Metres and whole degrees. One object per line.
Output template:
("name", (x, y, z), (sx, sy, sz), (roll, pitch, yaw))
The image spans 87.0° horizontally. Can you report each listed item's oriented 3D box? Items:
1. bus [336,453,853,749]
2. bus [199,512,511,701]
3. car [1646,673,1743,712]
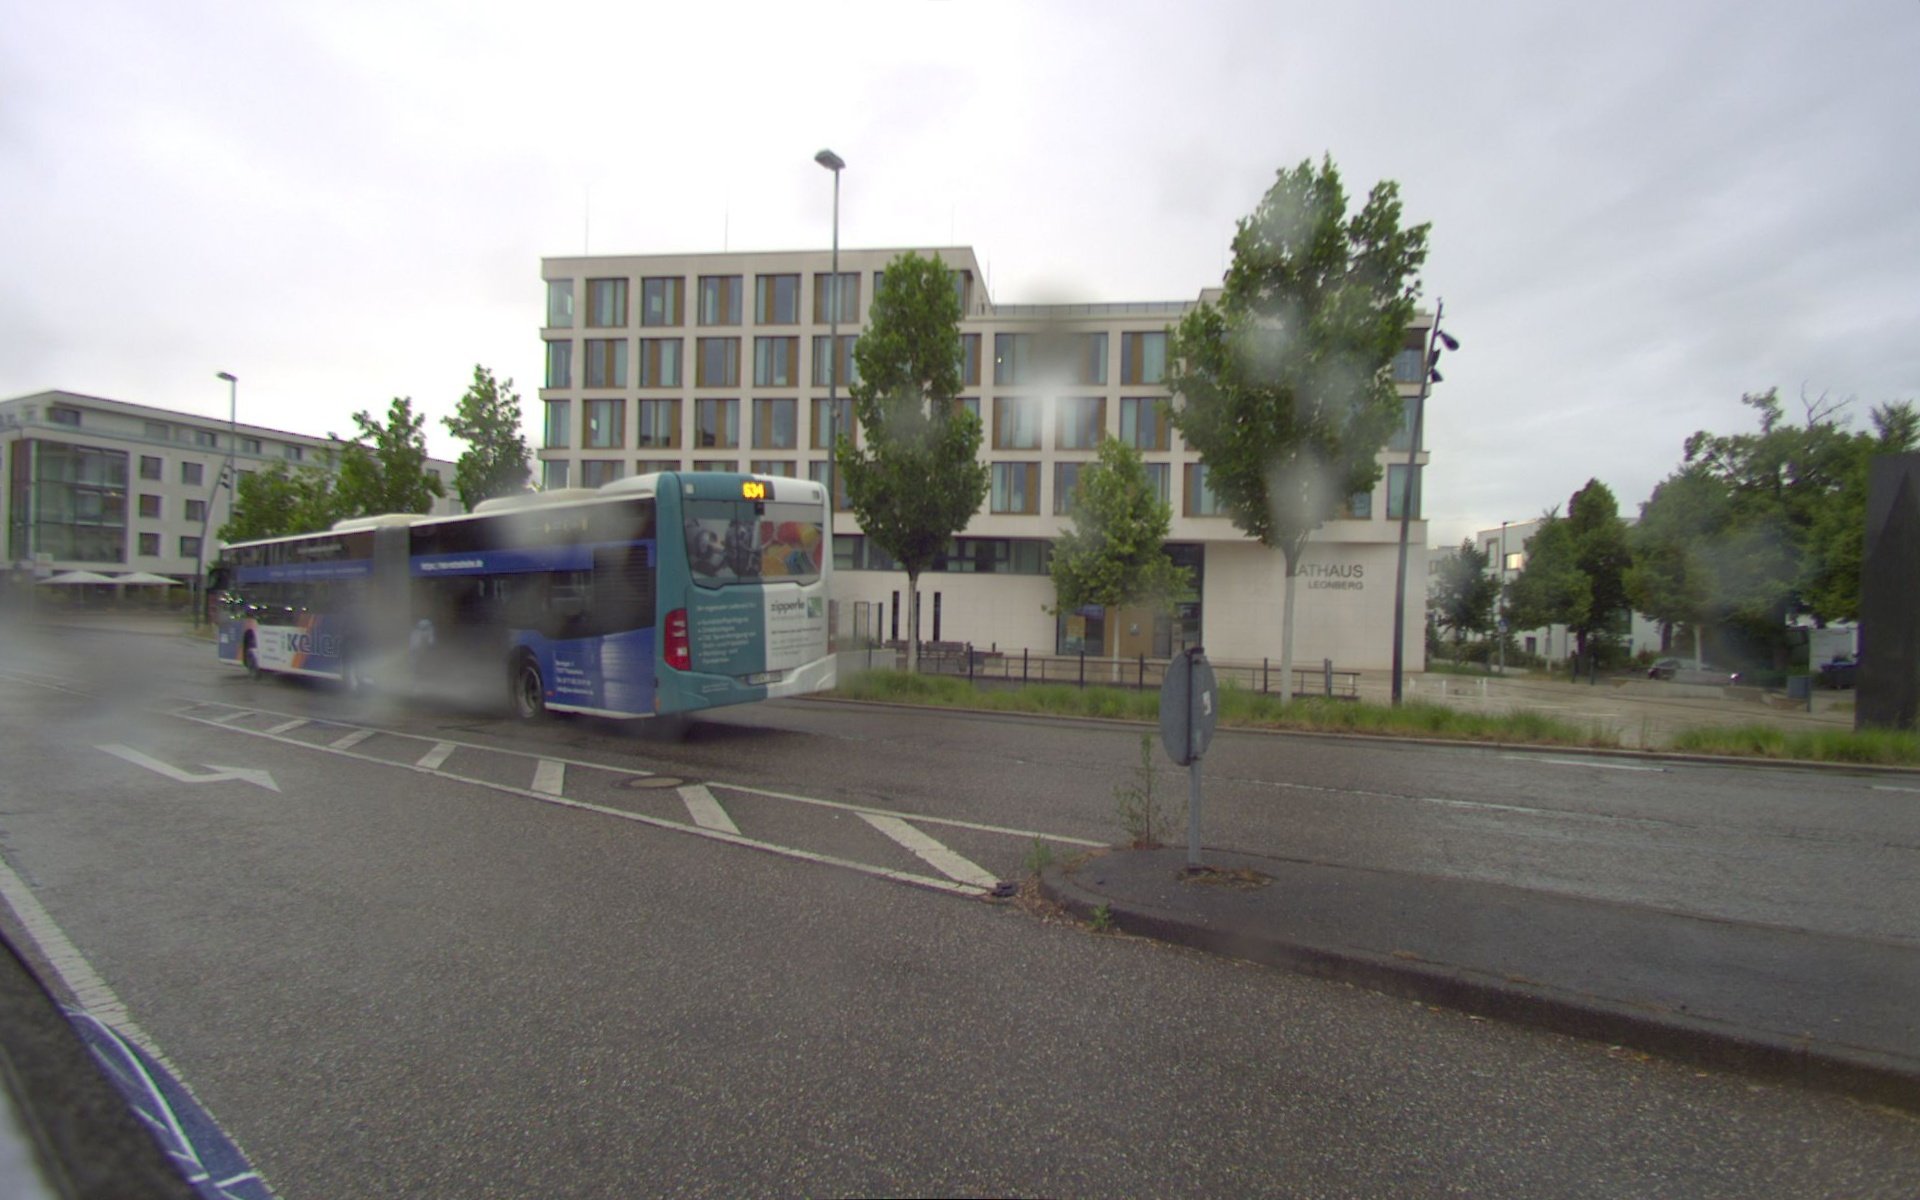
("bus", (-5.826, 0.074, 14.776), (9.360, 3.138, 2.749), (-1, -2, 40))
("bus", (-12.699, 0.172, 20.778), (8.878, 3.138, 2.763), (-1, -2, 41))
("car", (32.213, 4.035, 44.524), (1.771, 1.401, 4.266), (0, -2, 11))
